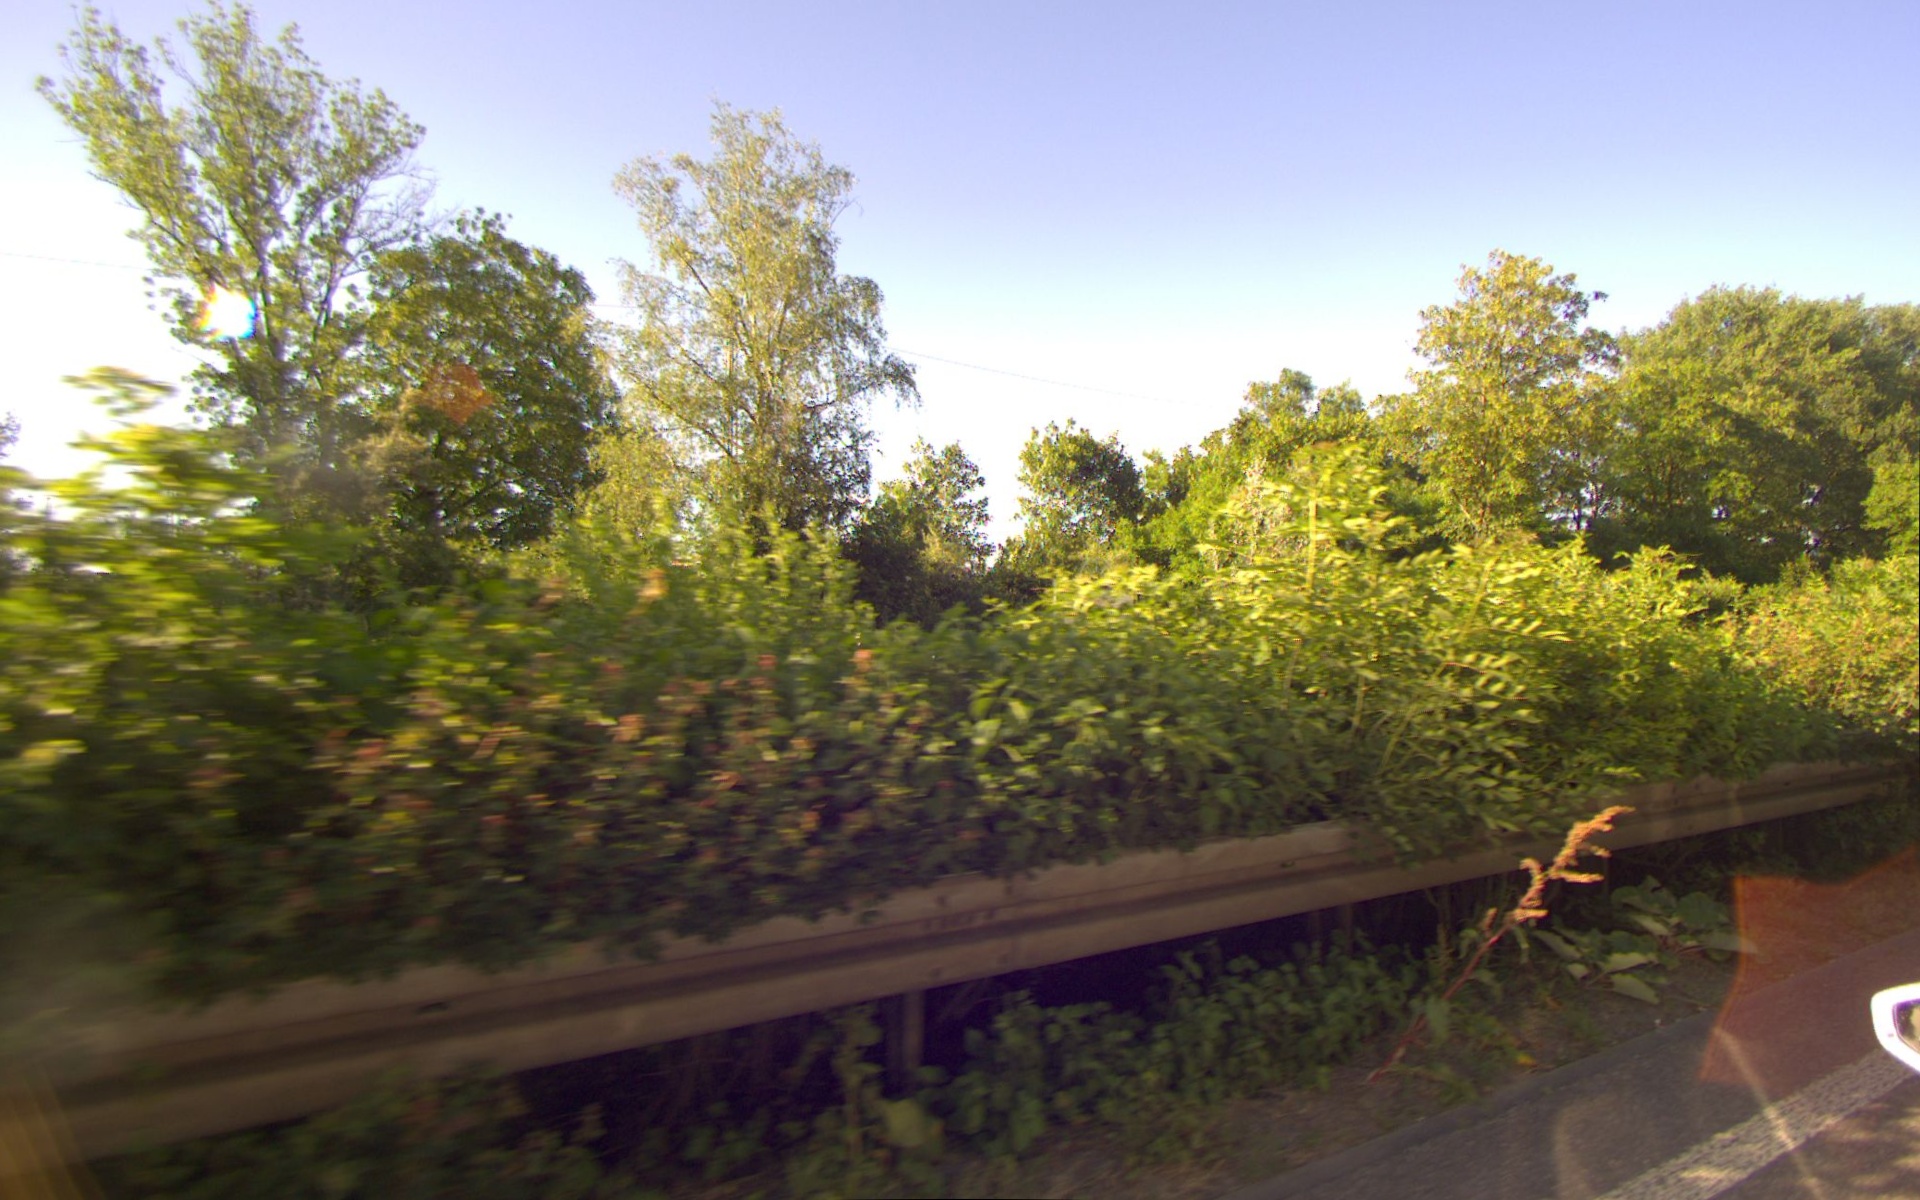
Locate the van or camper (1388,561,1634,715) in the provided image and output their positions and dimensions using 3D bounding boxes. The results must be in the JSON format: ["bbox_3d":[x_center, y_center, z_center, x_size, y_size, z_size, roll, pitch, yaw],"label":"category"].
[{"bbox_3d":[11.103,0.737,20.131,5.192,2.758,1.984,1,-1,-30],"label":"van or camper"}]
